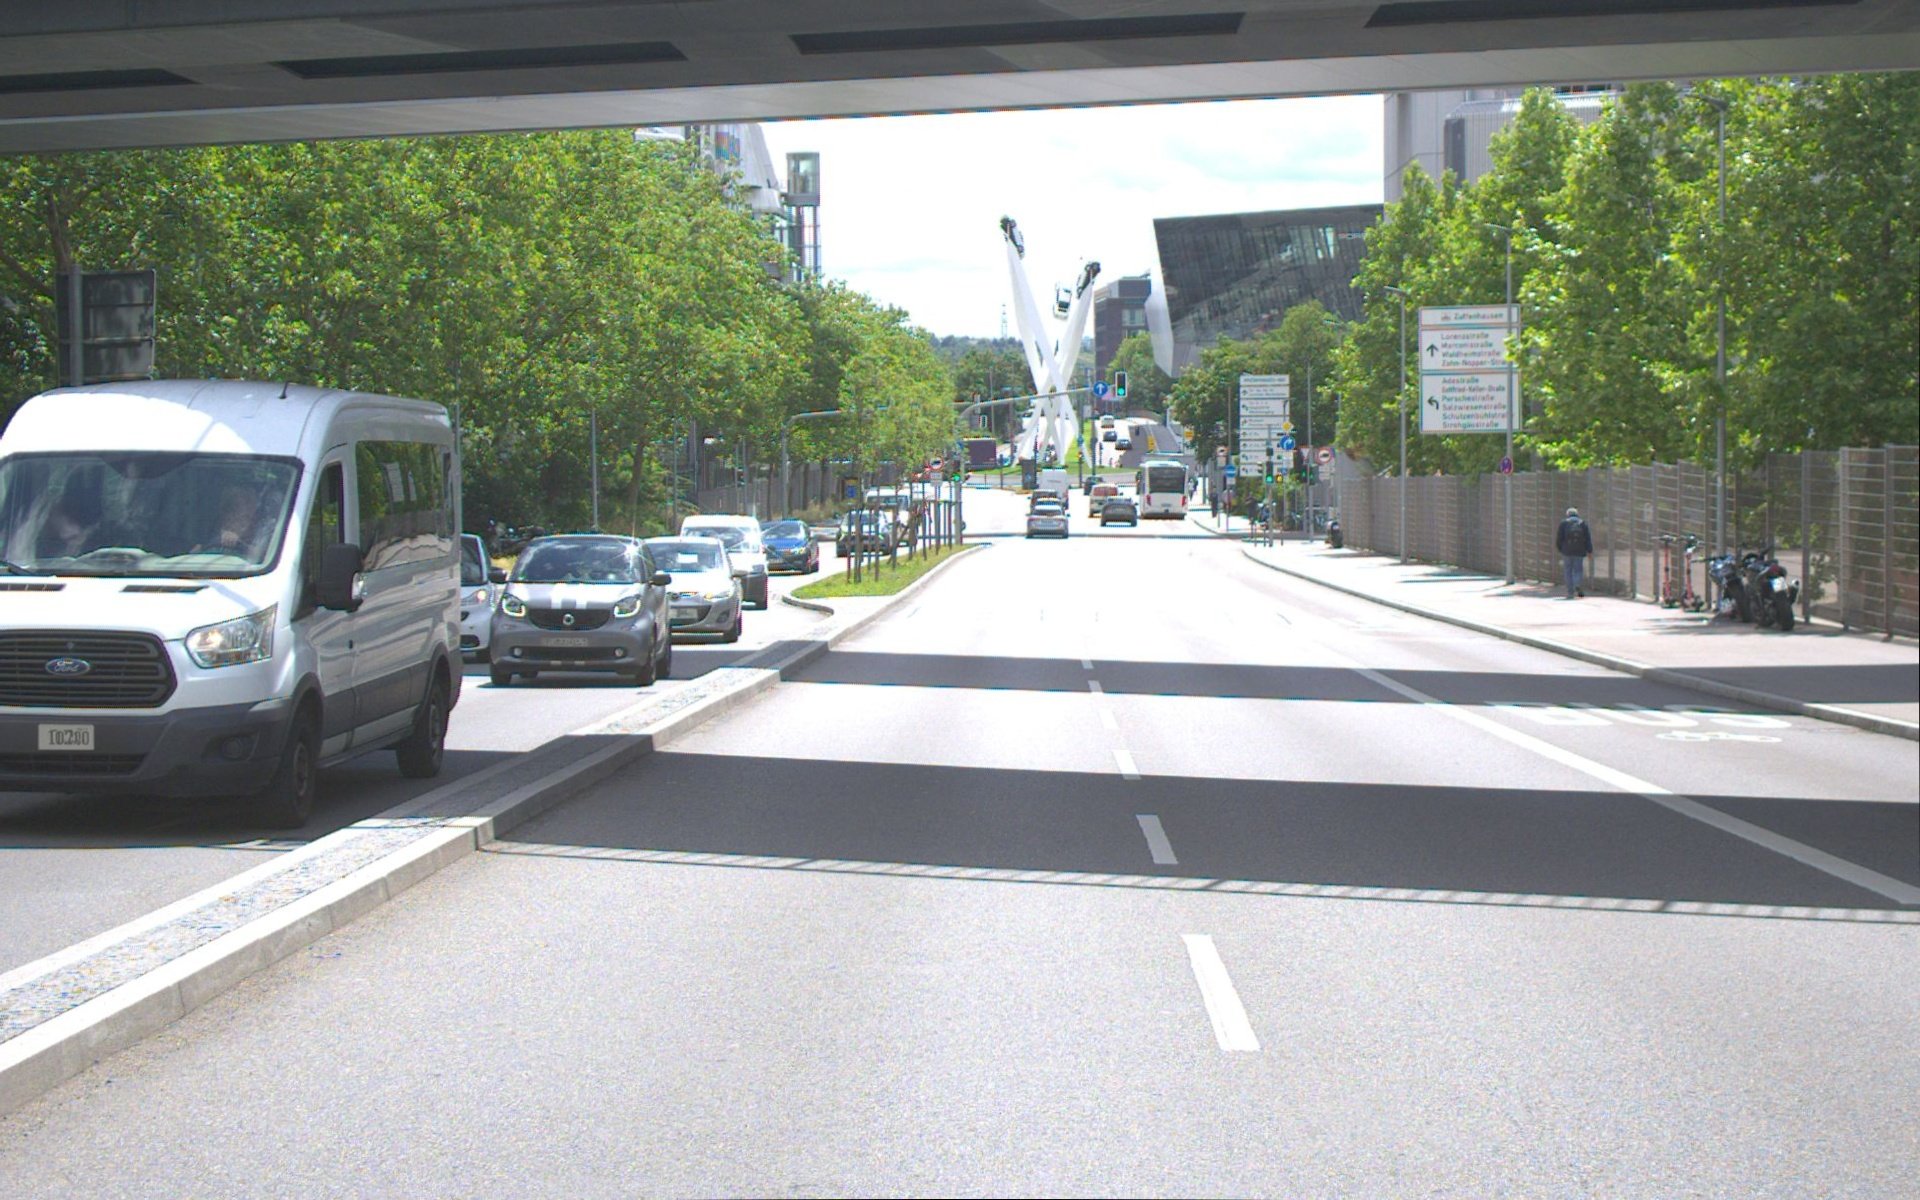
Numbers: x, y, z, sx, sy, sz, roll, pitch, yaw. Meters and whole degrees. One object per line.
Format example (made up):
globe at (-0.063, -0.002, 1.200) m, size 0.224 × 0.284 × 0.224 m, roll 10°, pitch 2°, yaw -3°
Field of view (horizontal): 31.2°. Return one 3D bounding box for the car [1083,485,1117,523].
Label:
car at (8.418, -5.764, 206.690) m, size 1.993 × 2.006 × 4.001 m, roll 0°, pitch 5°, yaw 2°

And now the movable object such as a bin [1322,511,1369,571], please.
movable object such as a bin at (13.810, -2.125, 123.259) m, size 1.665 × 2.125 × 1.278 m, roll 0°, pitch 1°, yaw 7°

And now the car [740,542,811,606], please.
car at (-4.960, -0.719, 92.896) m, size 1.700 × 1.692 × 3.924 m, roll 0°, pitch 1°, yaw 0°

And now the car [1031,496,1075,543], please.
car at (4.116, -3.573, 151.923) m, size 1.930 × 1.765 × 4.001 m, roll 0°, pitch 5°, yaw 2°

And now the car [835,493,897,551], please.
car at (-3.312, -2.764, 122.184) m, size 1.993 × 2.007 × 4.000 m, roll 0°, pitch 1°, yaw 1°

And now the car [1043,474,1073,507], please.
car at (6.486, -7.239, 227.132) m, size 1.873 × 2.006 × 3.694 m, roll 0°, pitch 5°, yaw 0°

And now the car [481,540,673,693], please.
car at (-3.959, 0.136, 35.905) m, size 1.700 × 1.516 × 3.074 m, roll 0°, pitch 1°, yaw -1°

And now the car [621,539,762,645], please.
car at (-3.785, -0.145, 48.983) m, size 1.700 × 1.431 × 3.924 m, roll 0°, pitch 1°, yaw 0°

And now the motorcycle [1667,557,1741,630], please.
motorcycle at (11.392, -0.108, 52.717) m, size 0.563 × 1.025 × 2.629 m, roll -1°, pitch 2°, yaw 0°

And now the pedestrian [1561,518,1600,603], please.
pedestrian at (12.091, -0.771, 66.983) m, size 0.620 × 1.612 × 0.747 m, roll 0°, pitch 5°, yaw 0°

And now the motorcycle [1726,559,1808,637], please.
motorcycle at (11.574, -0.043, 49.371) m, size 0.563 × 1.025 × 2.629 m, roll -1°, pitch 2°, yaw 0°

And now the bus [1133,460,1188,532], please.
bus at (11.962, -6.283, 205.722) m, size 2.796 × 3.739 × 9.472 m, roll 0°, pitch 5°, yaw 0°

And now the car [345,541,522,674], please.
car at (-6.431, 0.056, 42.337) m, size 1.700 × 1.545 × 3.925 m, roll 0°, pitch 1°, yaw -2°

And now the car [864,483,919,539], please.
car at (-2.779, -3.607, 139.827) m, size 1.993 × 2.248 × 4.326 m, roll 0°, pitch 1°, yaw 2°

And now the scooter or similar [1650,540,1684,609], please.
scooter or similar at (12.241, -0.444, 59.546) m, size 0.368 × 1.173 × 1.133 m, roll 0°, pitch 1°, yaw 0°

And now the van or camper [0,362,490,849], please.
van or camper at (-4.304, -0.025, 20.100) m, size 2.008 × 2.393 × 6.398 m, roll 0°, pitch 1°, yaw 2°

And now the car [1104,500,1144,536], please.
car at (8.729, -4.374, 183.250) m, size 1.993 × 1.853 × 4.000 m, roll 0°, pitch 1°, yaw 0°

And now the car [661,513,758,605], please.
car at (-4.757, -0.801, 65.731) m, size 1.700 × 1.692 × 3.925 m, roll 0°, pitch 1°, yaw -2°
